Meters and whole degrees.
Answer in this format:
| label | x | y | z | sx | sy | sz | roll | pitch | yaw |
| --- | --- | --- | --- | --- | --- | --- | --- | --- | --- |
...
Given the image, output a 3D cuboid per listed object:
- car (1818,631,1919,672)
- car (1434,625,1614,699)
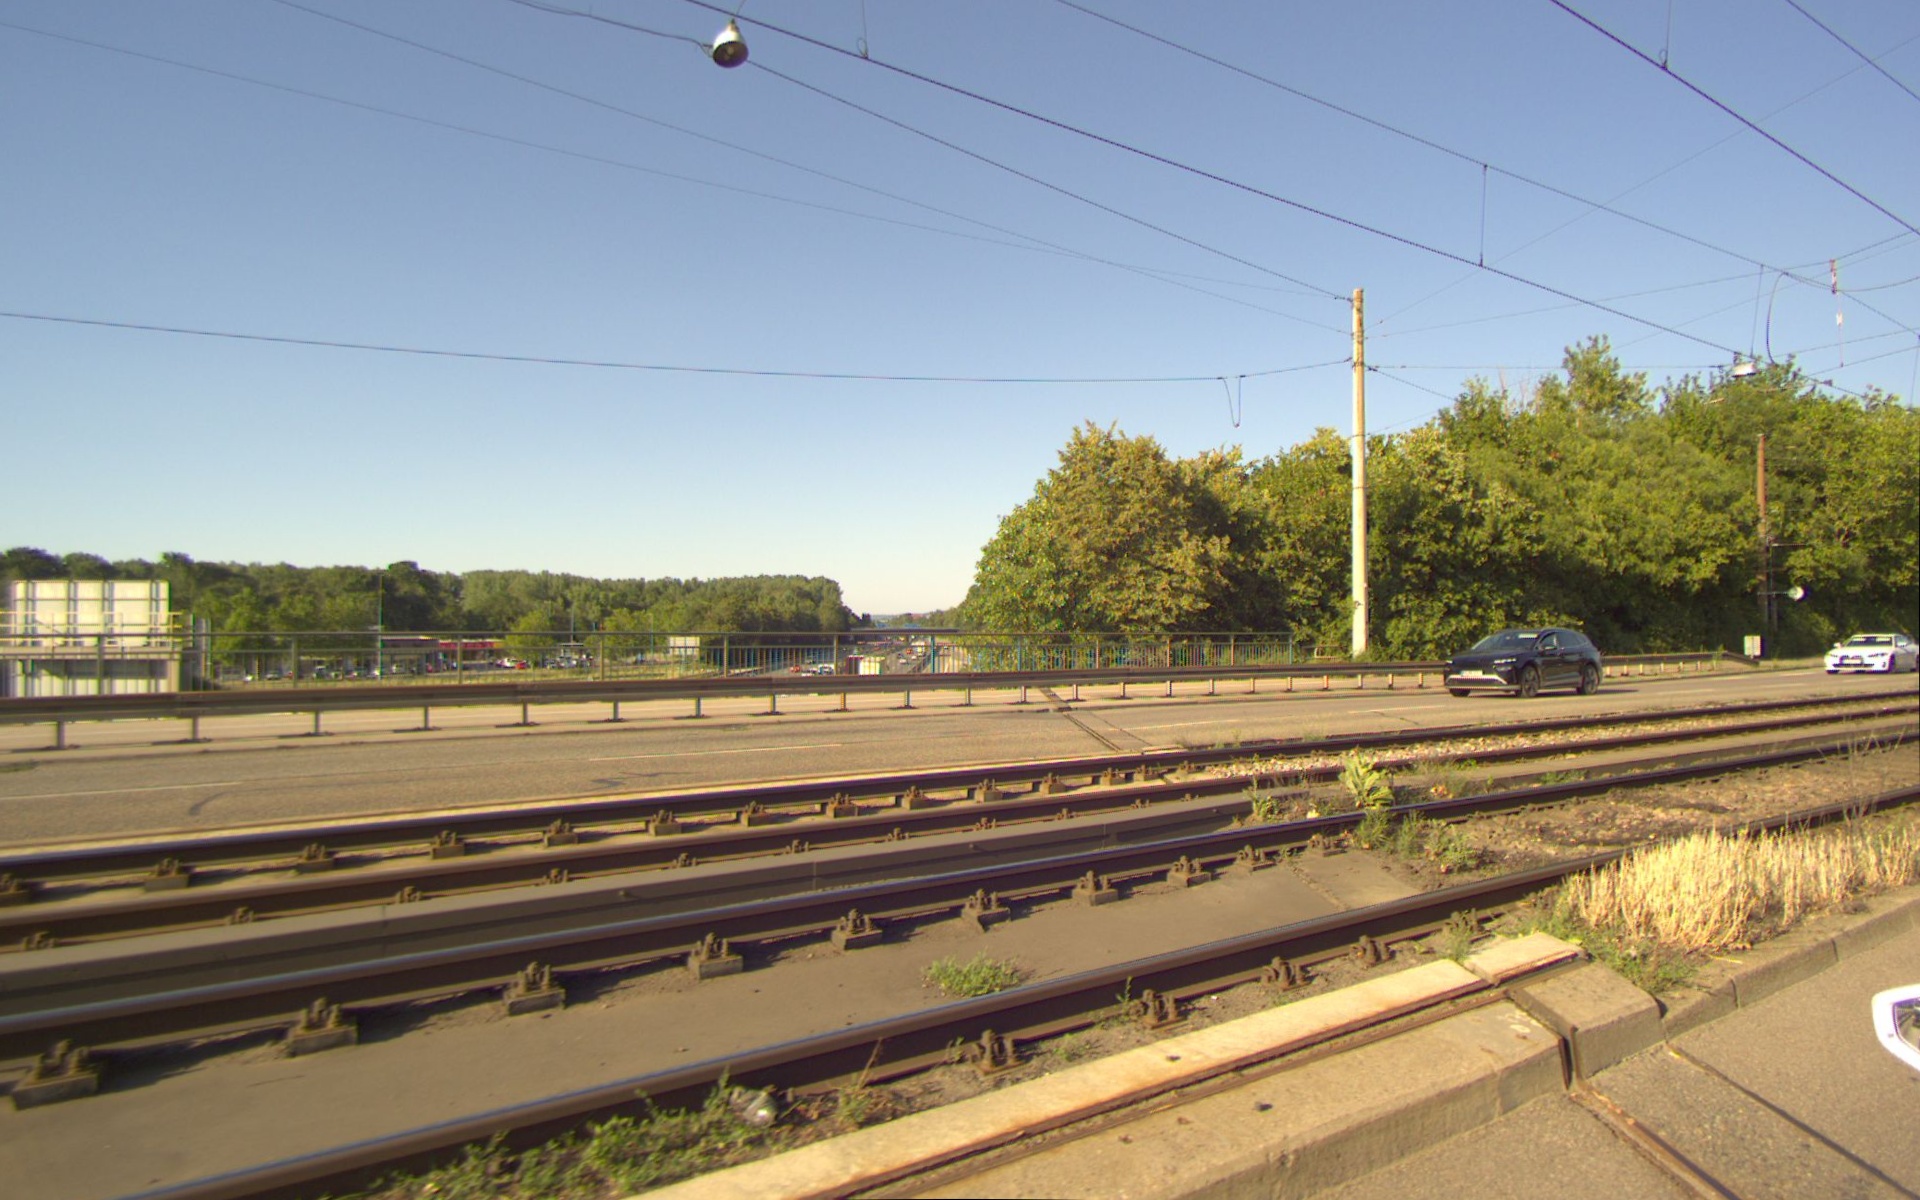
| label | x | y | z | sx | sy | sz | roll | pitch | yaw |
| --- | --- | --- | --- | --- | --- | --- | --- | --- | --- |
| car | 33.662 | 1.911 | 37.061 | 4.825 | 1.432 | 1.745 | 2 | -4 | -33 |
| car | 13.494 | 1.432 | 23.946 | 4.748 | 1.601 | 1.700 | 2 | -2 | -33 |
